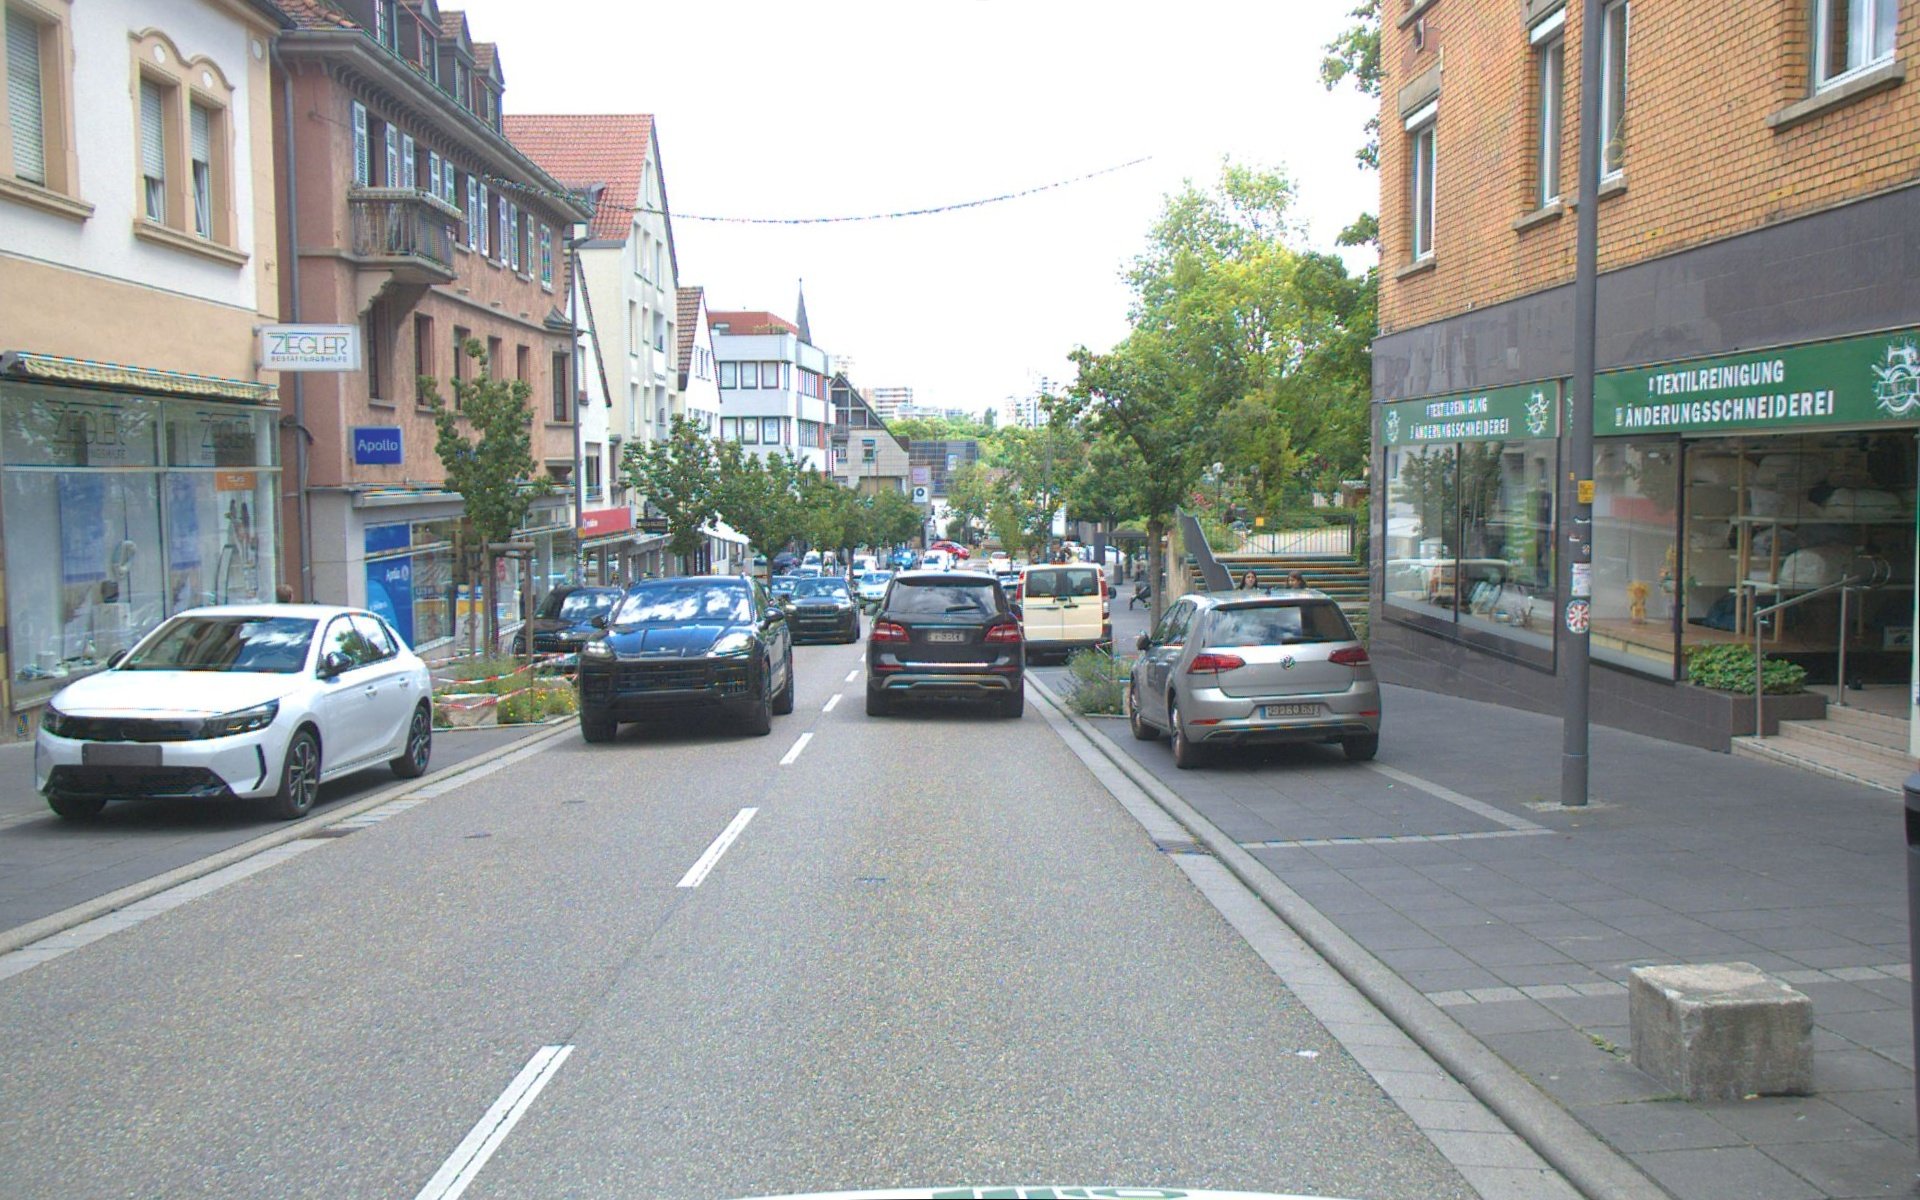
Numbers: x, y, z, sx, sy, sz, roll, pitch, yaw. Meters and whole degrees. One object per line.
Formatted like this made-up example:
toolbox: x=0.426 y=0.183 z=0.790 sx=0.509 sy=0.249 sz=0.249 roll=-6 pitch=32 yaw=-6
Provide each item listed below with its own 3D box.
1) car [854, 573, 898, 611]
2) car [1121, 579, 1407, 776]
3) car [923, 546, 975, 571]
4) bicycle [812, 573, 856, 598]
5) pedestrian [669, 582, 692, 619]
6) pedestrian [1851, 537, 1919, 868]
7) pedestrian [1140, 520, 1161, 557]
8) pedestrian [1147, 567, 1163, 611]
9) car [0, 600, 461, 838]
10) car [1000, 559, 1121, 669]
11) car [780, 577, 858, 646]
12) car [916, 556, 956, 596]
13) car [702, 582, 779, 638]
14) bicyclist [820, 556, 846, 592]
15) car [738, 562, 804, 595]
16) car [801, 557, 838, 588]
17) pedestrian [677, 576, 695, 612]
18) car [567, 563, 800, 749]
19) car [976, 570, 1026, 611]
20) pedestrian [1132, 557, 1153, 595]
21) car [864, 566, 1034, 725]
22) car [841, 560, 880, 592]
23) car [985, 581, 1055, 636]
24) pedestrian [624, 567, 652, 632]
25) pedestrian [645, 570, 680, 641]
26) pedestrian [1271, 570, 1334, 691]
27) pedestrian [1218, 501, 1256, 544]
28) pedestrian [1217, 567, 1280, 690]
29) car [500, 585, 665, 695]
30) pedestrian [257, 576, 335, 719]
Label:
car: x=-3.529 y=-0.364 z=70.204 sx=1.776 sy=1.534 sz=3.999 roll=-1 pitch=1 yaw=-2
car: x=2.646 y=0.602 z=15.327 sx=1.713 sy=1.491 sz=4.073 roll=-3 pitch=1 yaw=-2
car: x=-0.943 y=-3.490 z=139.925 sx=4.109 sy=2.065 sz=1.783 roll=0 pitch=0 yaw=33
bicycle: x=-5.921 y=-0.672 z=77.792 sx=1.935 sy=1.076 sz=0.706 roll=-3 pitch=1 yaw=-29
pedestrian: x=-9.915 y=0.021 z=58.668 sx=0.673 sy=1.304 sz=0.676 roll=-1 pitch=0 yaw=-2
pedestrian: x=5.007 y=0.484 z=8.036 sx=0.720 sy=1.612 sz=1.000 roll=-3 pitch=0 yaw=-2
pedestrian: x=11.761 y=-3.788 z=101.991 sx=0.990 sy=2.188 sz=1.068 roll=-2 pitch=1 yaw=17
pedestrian: x=7.222 y=-0.401 z=61.106 sx=0.556 sy=1.614 sz=0.666 roll=-1 pitch=0 yaw=7
car: x=-5.437 y=0.764 z=12.755 sx=1.887 sy=1.455 sz=4.262 roll=0 pitch=1 yaw=0
car: x=1.899 y=0.203 z=32.662 sx=1.899 sy=1.924 sz=4.706 roll=-3 pitch=1 yaw=-2
car: x=-3.486 y=0.254 z=41.462 sx=1.729 sy=1.645 sz=4.031 roll=0 pitch=0 yaw=-2
car: x=-1.438 y=-1.468 z=101.276 sx=2.128 sy=2.405 sz=4.624 roll=-1 pitch=0 yaw=3
car: x=-6.639 y=0.269 z=50.321 sx=1.888 sy=1.522 sz=4.261 roll=2 pitch=1 yaw=-2
bicyclist: x=-5.981 y=-1.201 z=77.754 sx=0.952 sy=1.637 sz=0.724 roll=-3 pitch=1 yaw=-28
car: x=-11.556 y=-1.311 z=101.317 sx=3.910 sy=1.780 sz=1.998 roll=-3 pitch=1 yaw=-5
car: x=-7.969 y=-1.561 z=94.050 sx=1.888 sy=1.657 sz=4.413 roll=2 pitch=1 yaw=-3
pedestrian: x=-9.944 y=-0.211 z=60.007 sx=0.553 sy=1.304 sz=0.758 roll=0 pitch=0 yaw=-2
car: x=-2.919 y=0.524 z=18.436 sx=1.952 sy=1.748 sz=4.445 roll=-2 pitch=1 yaw=-2
car: x=1.630 y=-0.421 z=67.438 sx=1.898 sy=1.571 sz=4.707 roll=-1 pitch=1 yaw=0
pedestrian: x=9.768 y=-1.298 z=88.727 sx=1.027 sy=1.946 sz=0.937 roll=-3 pitch=1 yaw=6
car: x=-0.152 y=0.476 z=20.866 sx=1.904 sy=1.770 sz=4.178 roll=1 pitch=1 yaw=-1
car: x=-5.443 y=-1.325 z=91.137 sx=1.887 sy=1.657 sz=4.262 roll=2 pitch=1 yaw=-1
car: x=1.784 y=0.219 z=50.469 sx=1.898 sy=1.482 sz=4.707 roll=-1 pitch=1 yaw=0
pedestrian: x=-8.516 y=-0.018 z=43.791 sx=0.628 sy=1.696 sz=0.720 roll=0 pitch=0 yaw=-2
pedestrian: x=-7.165 y=0.133 z=39.871 sx=0.712 sy=1.696 sz=0.720 roll=0 pitch=0 yaw=-2
pedestrian: x=4.849 y=0.422 z=23.449 sx=0.658 sy=1.661 sz=0.669 roll=-3 pitch=1 yaw=-3
pedestrian: x=8.216 y=-2.299 z=49.127 sx=0.970 sy=1.252 sz=0.984 roll=0 pitch=0 yaw=1
pedestrian: x=4.024 y=0.388 z=23.103 sx=0.658 sy=1.661 sz=0.669 roll=-3 pitch=1 yaw=-3
car: x=-5.885 y=0.560 z=26.262 sx=1.888 sy=1.522 sz=4.259 roll=-1 pitch=1 yaw=-4
pedestrian: x=-7.738 y=0.537 z=19.302 sx=0.536 sy=1.603 sz=0.863 roll=-2 pitch=1 yaw=-2
